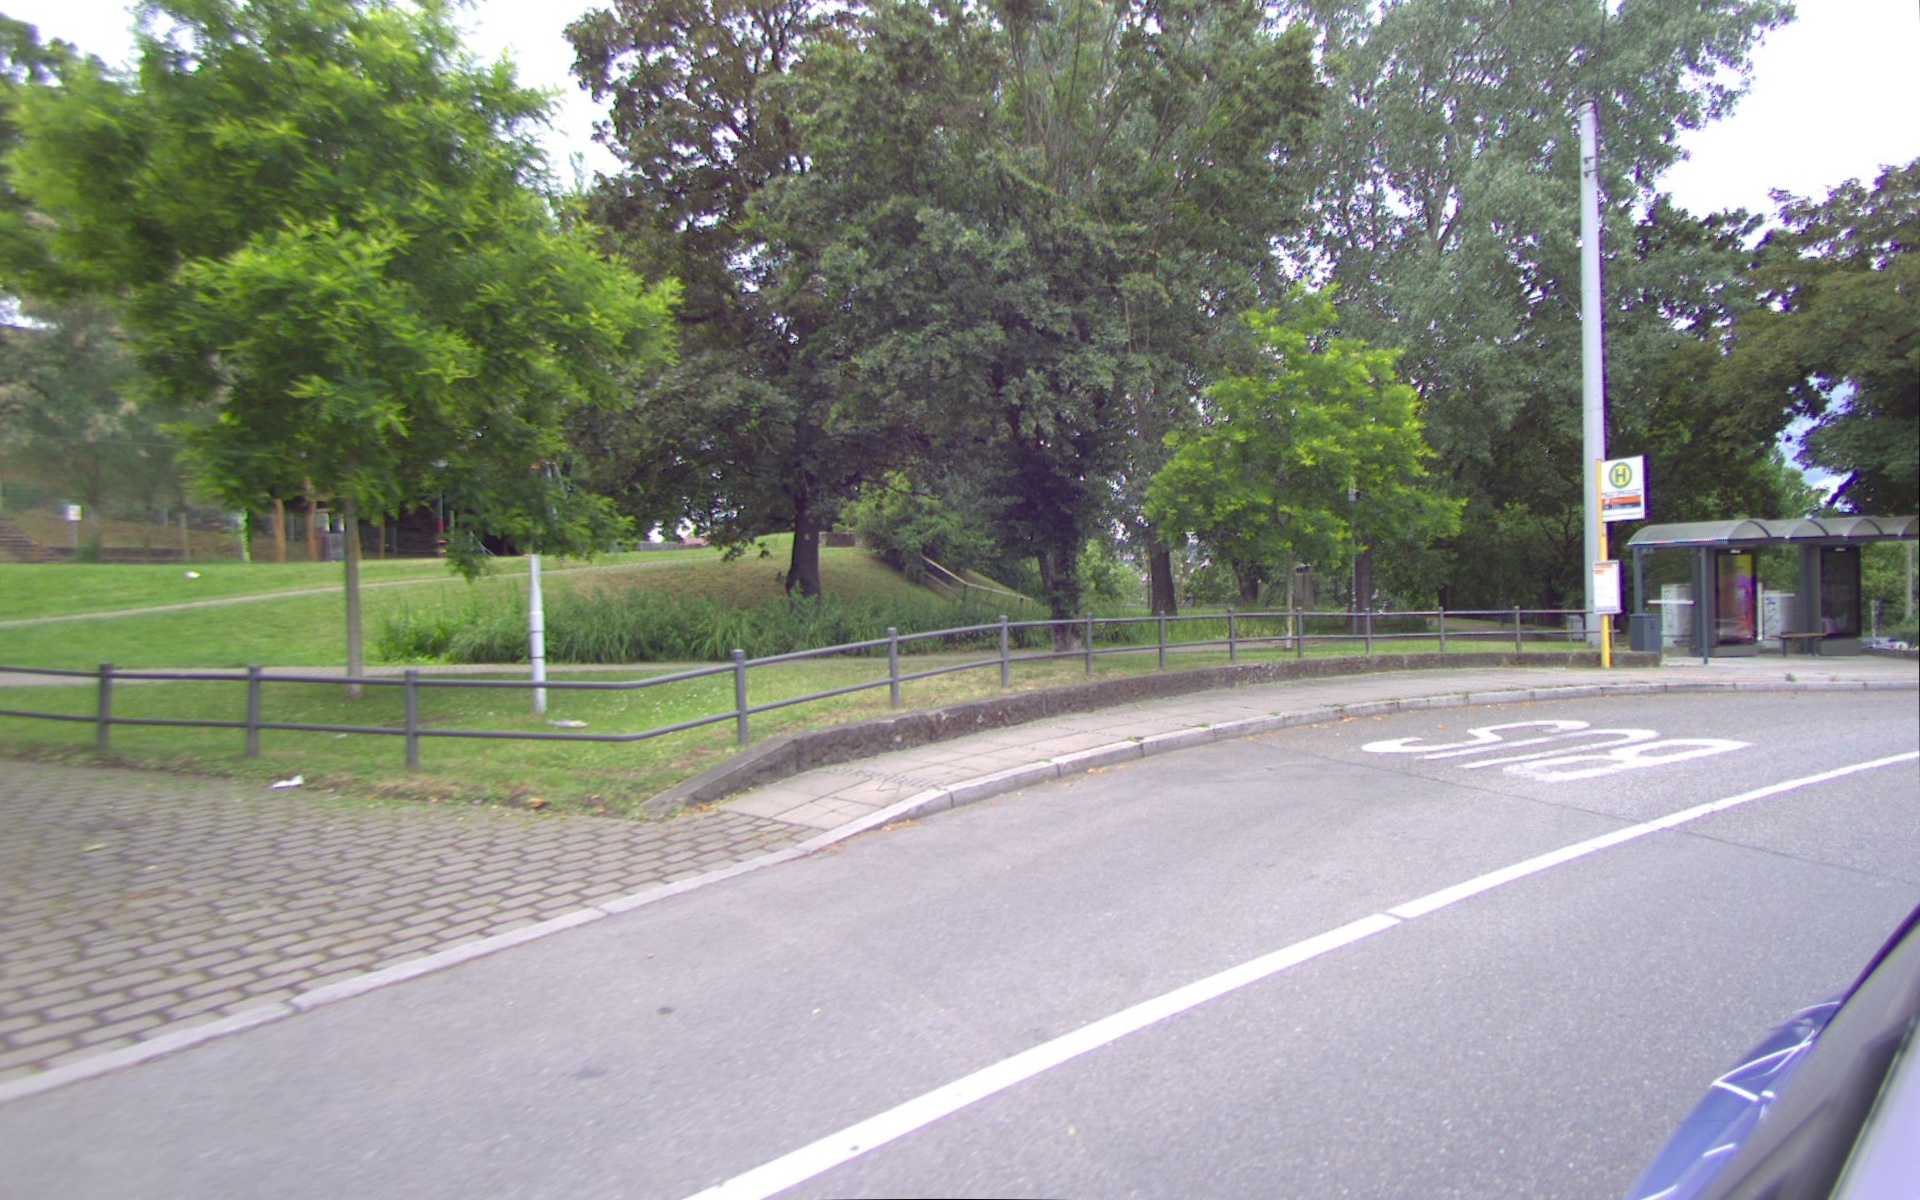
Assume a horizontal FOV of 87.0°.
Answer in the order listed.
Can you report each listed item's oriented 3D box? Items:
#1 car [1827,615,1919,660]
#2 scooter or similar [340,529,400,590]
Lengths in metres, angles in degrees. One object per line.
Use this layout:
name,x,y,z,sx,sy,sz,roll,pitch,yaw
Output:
car,47.817,1.907,52.360,1.958,2.038,4.009,2,1,-12
scooter or similar,-12.717,-0.855,21.860,0.492,1.242,1.247,2,0,1
